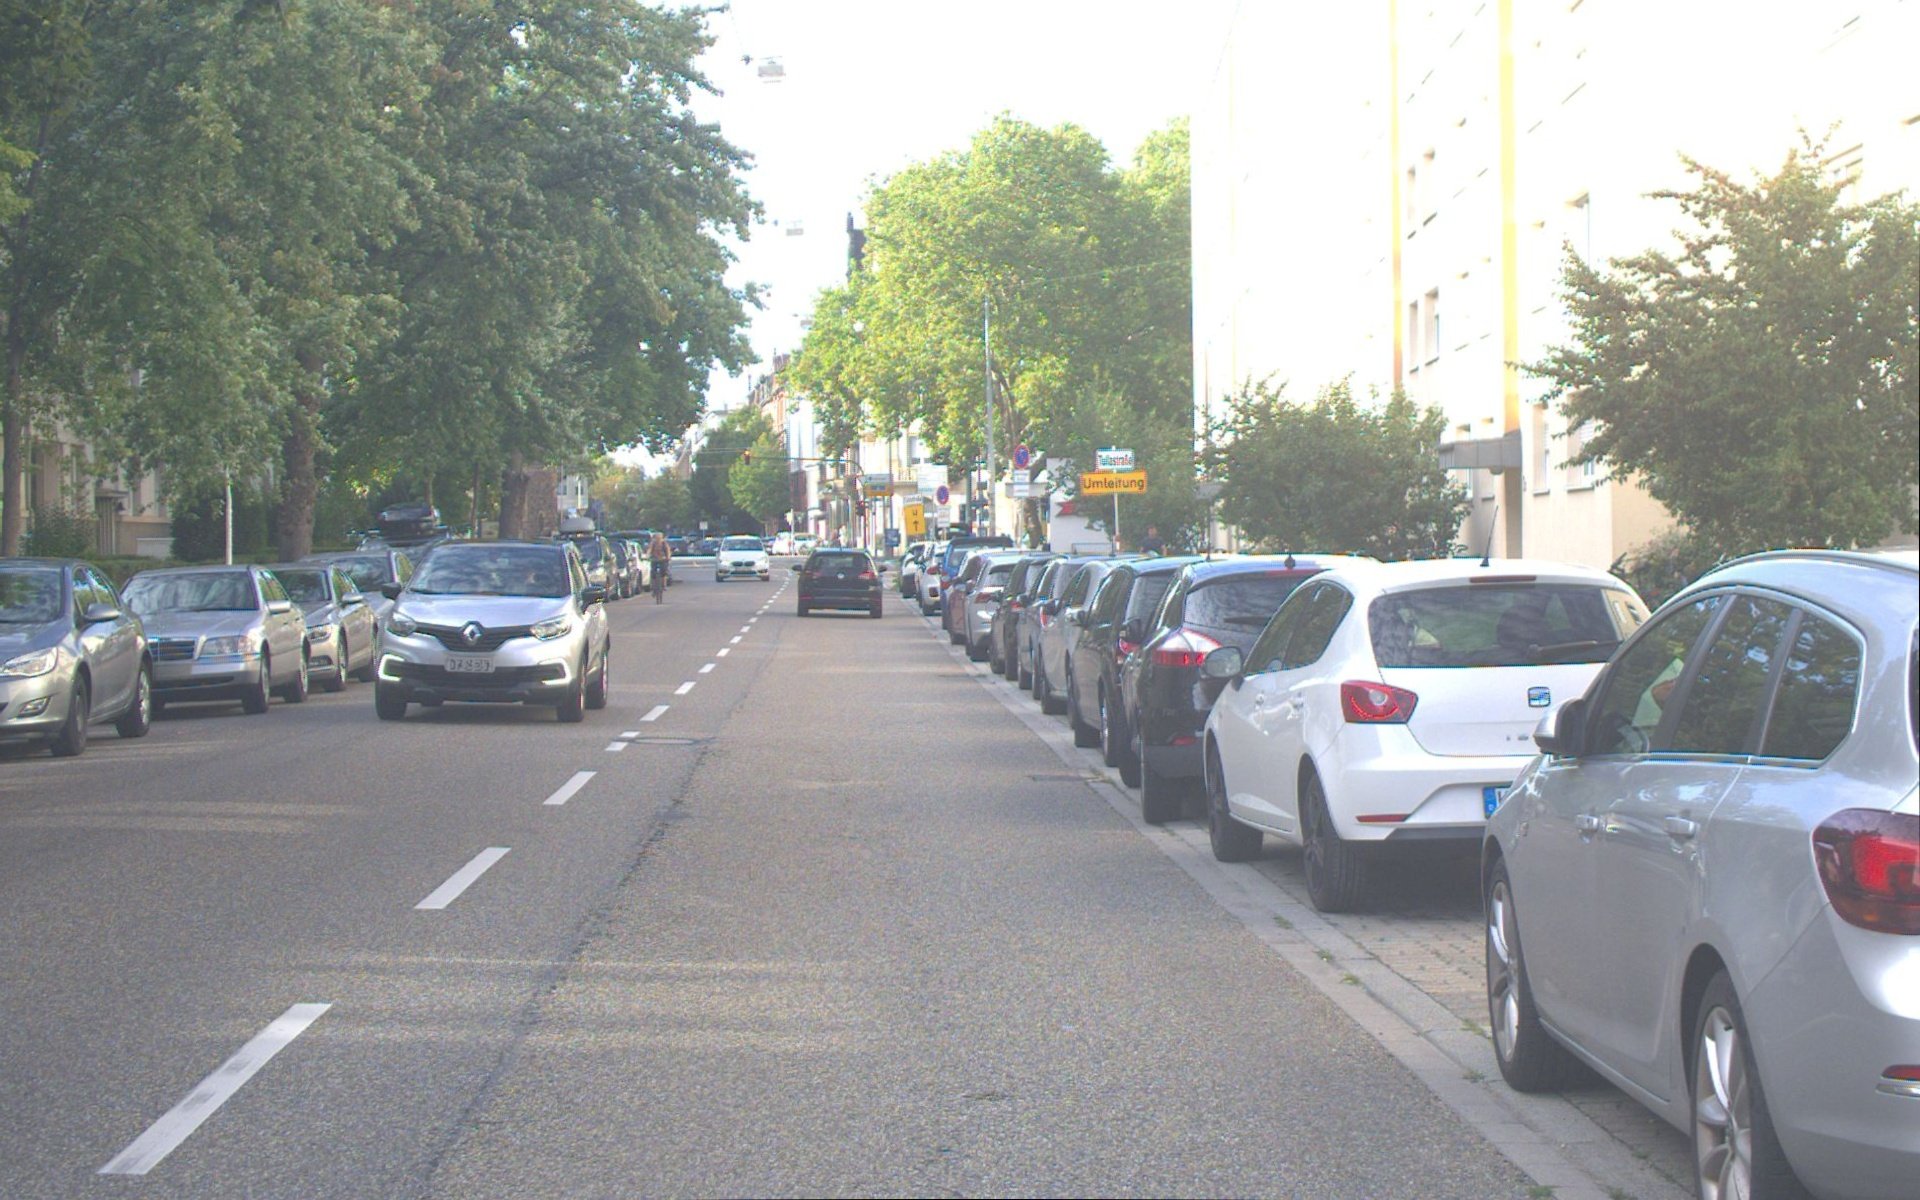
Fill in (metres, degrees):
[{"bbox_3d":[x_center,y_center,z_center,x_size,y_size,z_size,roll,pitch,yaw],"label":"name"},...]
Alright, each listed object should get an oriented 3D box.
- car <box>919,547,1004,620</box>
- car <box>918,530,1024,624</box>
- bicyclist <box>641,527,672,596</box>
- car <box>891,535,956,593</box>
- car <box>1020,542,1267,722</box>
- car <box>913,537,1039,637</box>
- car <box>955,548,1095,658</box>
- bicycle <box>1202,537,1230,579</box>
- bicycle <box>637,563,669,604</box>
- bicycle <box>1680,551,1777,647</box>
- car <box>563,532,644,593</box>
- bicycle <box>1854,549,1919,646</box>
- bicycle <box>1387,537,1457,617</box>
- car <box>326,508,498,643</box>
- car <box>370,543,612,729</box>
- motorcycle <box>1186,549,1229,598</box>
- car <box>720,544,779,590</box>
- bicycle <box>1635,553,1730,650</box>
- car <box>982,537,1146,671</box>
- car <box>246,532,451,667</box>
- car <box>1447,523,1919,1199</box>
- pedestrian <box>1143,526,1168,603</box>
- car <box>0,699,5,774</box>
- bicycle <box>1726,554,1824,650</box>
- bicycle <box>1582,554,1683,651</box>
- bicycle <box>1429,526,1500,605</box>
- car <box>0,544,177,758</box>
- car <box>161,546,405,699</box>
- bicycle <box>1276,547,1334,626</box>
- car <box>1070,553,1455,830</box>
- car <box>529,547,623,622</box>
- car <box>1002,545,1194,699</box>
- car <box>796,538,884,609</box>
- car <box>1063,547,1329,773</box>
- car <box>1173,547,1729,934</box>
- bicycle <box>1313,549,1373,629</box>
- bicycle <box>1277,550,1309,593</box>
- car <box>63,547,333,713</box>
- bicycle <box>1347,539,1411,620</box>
[{"bbox_3d":[0.011,-0.374,73.789,1.728,1.482,4.642,-2,1,-1],"label":"car"},{"bbox_3d":[0.175,-0.448,63.791,1.728,1.644,4.117,-1,1,-3],"label":"car"},{"bbox_3d":[-7.093,-0.899,80.402,0.641,1.595,0.990,-1,1,-2],"label":"bicyclist"},{"bbox_3d":[-0.993,-1.007,94.539,1.690,1.523,4.238,-1,1,0],"label":"car"},{"bbox_3d":[1.583,0.236,31.056,1.699,1.458,4.180,-1,1,-4],"label":"car"},{"bbox_3d":[0.221,-0.239,55.554,1.728,1.510,4.192,-1,1,-4],"label":"car"},{"bbox_3d":[0.866,0.012,47.875,1.661,1.411,4.059,-2,1,-2],"label":"car"},{"bbox_3d":[7.068,-1.172,95.034,0.529,1.111,2.209,-1,1,-2],"label":"bicycle"},{"bbox_3d":[-7.176,-0.383,80.386,0.642,0.920,1.858,-1,1,-2],"label":"bicycle"},{"bbox_3d":[8.654,-0.024,38.760,0.501,1.027,2.069,-3,1,-2],"label":"bicycle"},{"bbox_3d":[-9.282,-0.998,89.774,1.700,1.482,3.848,-3,1,-1],"label":"car"},{"bbox_3d":[10.629,-0.039,38.670,0.501,1.027,2.135,-4,1,-1],"label":"bicycle"},{"bbox_3d":[7.732,-0.400,57.611,0.726,1.286,2.635,-1,1,-2],"label":"bicycle"},{"bbox_3d":[-7.886,-0.393,49.879,1.877,1.787,4.971,-3,1,-3],"label":"car"},{"bbox_3d":[-4.045,0.262,30.207,1.740,1.496,4.010,-1,1,-3],"label":"car"},{"bbox_3d":[5.448,-0.587,75.738,0.630,1.041,2.394,-1,1,-3],"label":"motorcycle"},{"bbox_3d":[-7.200,-1.156,117.986,1.859,1.523,4.011,0,1,-1],"label":"car"},{"bbox_3d":[8.132,0.002,38.749,0.501,1.027,2.096,-3,1,-2],"label":"bicycle"},{"bbox_3d":[1.213,0.012,41.561,1.661,1.486,3.942,-2,1,-2],"label":"car"},{"bbox_3d":[-7.761,-0.048,44.030,1.855,1.568,4.460,-2,1,-1],"label":"car"},{"bbox_3d":[2.332,0.591,7.934,1.763,1.518,4.330,-1,1,0],"label":"car"},{"bbox_3d":[4.423,-0.808,77.779,0.542,1.715,0.771,-1,1,3],"label":"pedestrian"},{"bbox_3d":[-6.972,0.472,19.465,1.855,1.481,4.799,-4,1,-2],"label":"car"},{"bbox_3d":[9.169,0.008,38.756,0.501,1.027,2.026,-3,1,-2],"label":"bicycle"},{"bbox_3d":[7.542,0.013,38.628,0.593,1.027,2.119,-3,1,-2],"label":"bicycle"},{"bbox_3d":[8.452,-0.583,57.691,0.726,1.286,2.635,1,1,-2],"label":"bicycle"},{"bbox_3d":[-7.410,0.339,26.611,1.855,1.481,4.684,-2,1,-3],"label":"car"},{"bbox_3d":[-7.564,0.201,38.867,1.855,1.481,4.945,-3,1,-2],"label":"car"},{"bbox_3d":[5.768,-0.242,57.562,0.604,1.286,2.635,-1,1,-2],"label":"bicycle"},{"bbox_3d":[1.713,0.468,20.758,1.683,1.430,4.207,-1,1,-3],"label":"car"},{"bbox_3d":[-9.383,-0.411,84.333,1.799,1.662,4.483,-3,1,-1],"label":"car"},{"bbox_3d":[1.408,0.183,36.490,1.683,1.480,4.294,-1,1,-2],"label":"car"},{"bbox_3d":[-2.525,-0.566,71.519,1.751,1.408,4.001,0,1,-3],"label":"car"},{"bbox_3d":[1.686,0.381,25.618,1.683,1.496,3.874,-1,1,0],"label":"car"},{"bbox_3d":[2.071,0.522,15.668,1.683,1.463,4.207,-1,1,-3],"label":"car"},{"bbox_3d":[6.404,-0.206,57.595,0.604,1.286,2.635,-2,1,-2],"label":"bicycle"},{"bbox_3d":[7.331,-0.629,75.770,0.458,0.924,1.517,-2,1,-3],"label":"bicycle"},{"bbox_3d":[-7.317,0.233,33.438,1.738,1.388,4.667,-3,1,-3],"label":"car"},{"bbox_3d":[7.008,-0.360,57.588,0.595,1.286,2.635,-3,1,-2],"label":"bicycle"}]
